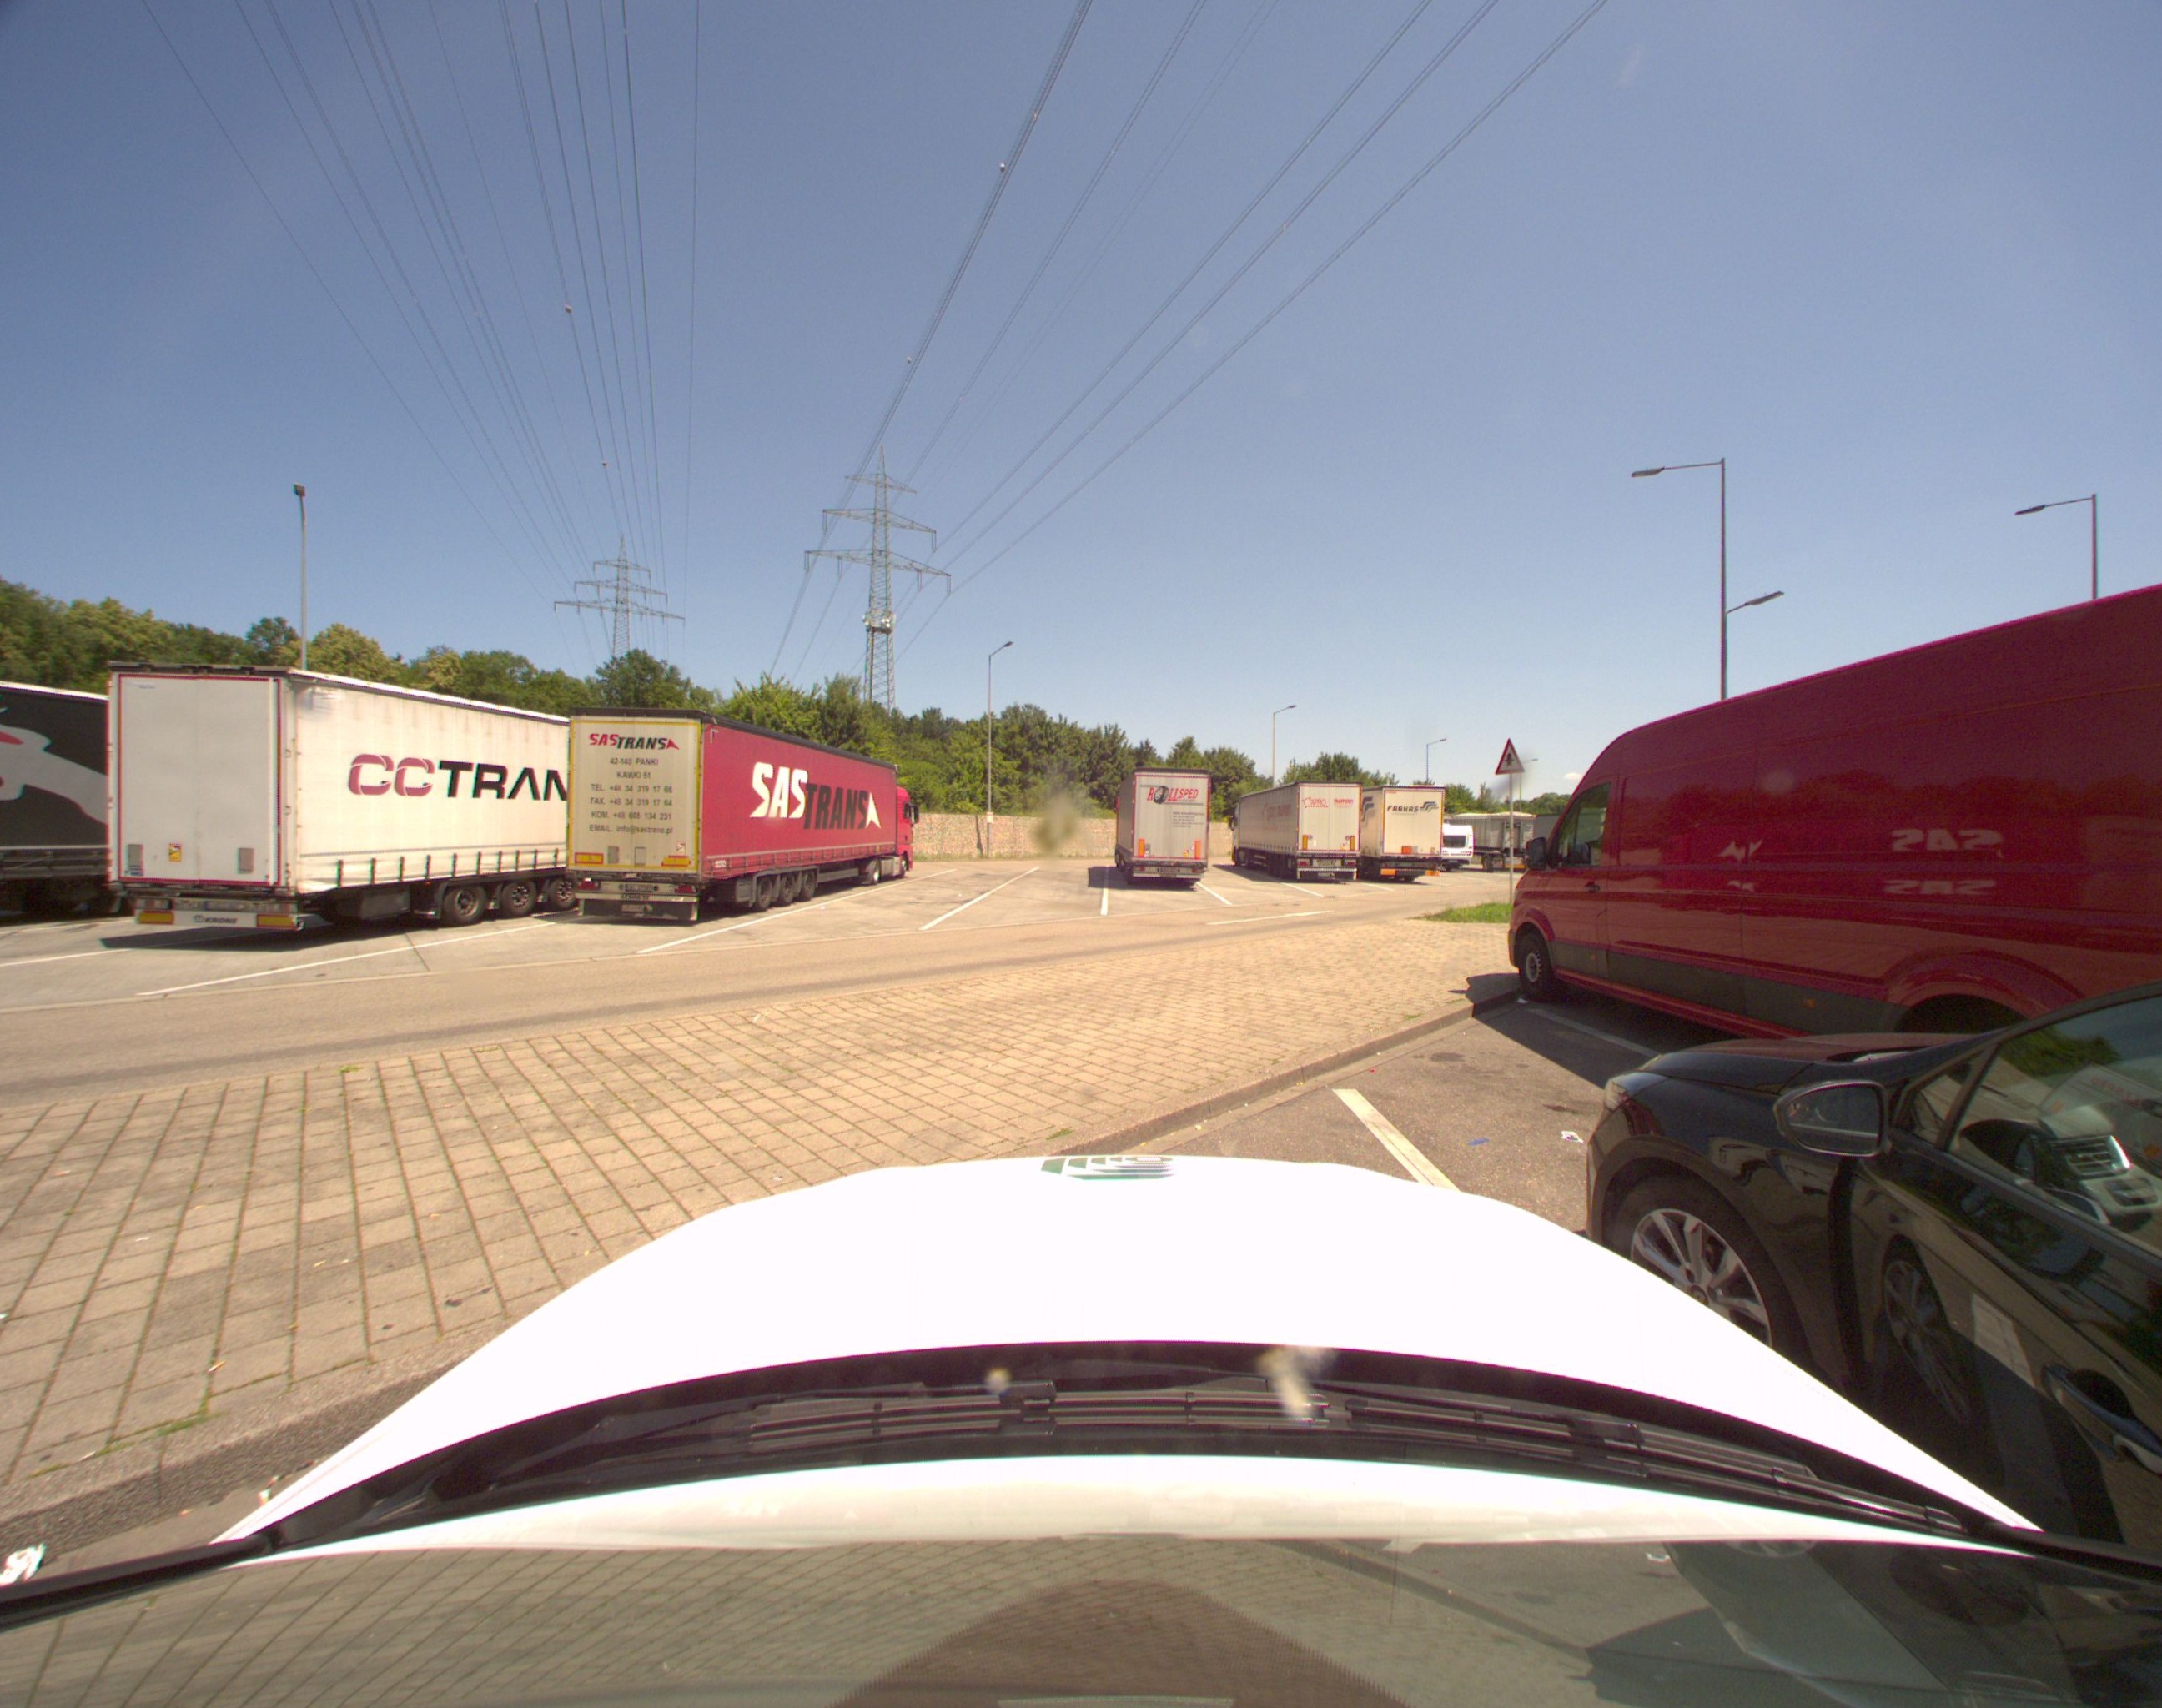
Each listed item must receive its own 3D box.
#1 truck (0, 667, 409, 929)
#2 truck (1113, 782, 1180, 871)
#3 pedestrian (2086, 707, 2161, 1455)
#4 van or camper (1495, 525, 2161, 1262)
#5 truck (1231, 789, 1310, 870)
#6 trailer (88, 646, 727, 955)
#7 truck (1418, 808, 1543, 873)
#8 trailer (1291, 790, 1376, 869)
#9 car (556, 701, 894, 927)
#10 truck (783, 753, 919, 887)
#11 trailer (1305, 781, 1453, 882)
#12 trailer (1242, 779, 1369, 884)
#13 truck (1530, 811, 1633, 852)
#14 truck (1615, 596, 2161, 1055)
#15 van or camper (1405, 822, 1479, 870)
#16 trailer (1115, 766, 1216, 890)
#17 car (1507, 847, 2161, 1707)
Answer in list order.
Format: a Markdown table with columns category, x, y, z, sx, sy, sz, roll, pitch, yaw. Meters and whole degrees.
| category | x | y | z | sx | sy | sz | roll | pitch | yaw |
| --- | --- | --- | --- | --- | --- | --- | --- | --- | --- |
| truck | -18.609 | -1.026 | 16.268 | 2.803 | 4.190 | 8.793 | 0 | 2 | 2 |
| truck | 3.147 | -1.402 | 40.815 | 2.857 | 4.037 | 7.029 | 0 | 2 | 1 |
| pedestrian | 3.102 | 0.570 | 1.753 | 0.770 | 1.872 | 0.916 | -1 | 1 | -4 |
| van or camper | 5.148 | 0.096 | 5.491 | 1.986 | 2.654 | 6.490 | -1 | 1 | 6 |
| truck | 10.189 | -1.377 | 44.532 | 2.856 | 4.037 | 6.960 | 0 | 2 | 2 |
| trailer | -12.154 | -0.979 | 17.787 | 2.803 | 4.266 | 12.947 | 0 | 2 | 2 |
| truck | 24.309 | -0.969 | 50.499 | 2.478 | 3.568 | 11.429 | 0 | 2 | 2 |
| trailer | 13.876 | -1.372 | 45.297 | 2.856 | 4.037 | 6.574 | 0 | 2 | 2 |
| car | -8.040 | -0.939 | 21.431 | 2.686 | 4.112 | 12.943 | 1 | 2 | 2 |
| truck | -7.740 | -1.159 | 28.347 | 2.686 | 4.112 | 6.243 | 1 | 2 | 2 |
| trailer | 13.650 | -1.133 | 38.875 | 2.856 | 4.037 | 12.445 | 0 | 2 | 2 |
| trailer | 9.963 | -1.112 | 37.900 | 2.856 | 4.037 | 12.445 | 0 | 2 | 2 |
| truck | 38.042 | -1.659 | 62.377 | 2.117 | 2.820 | 9.783 | -1 | 1 | 2 |
| truck | 7.948 | -0.216 | 7.063 | 2.455 | 2.792 | 6.978 | 0 | 1 | 4 |
| van or camper | 20.601 | -0.477 | 46.773 | 2.096 | 2.561 | 5.376 | -1 | 1 | 3 |
| trailer | 3.054 | -1.112 | 33.727 | 2.857 | 4.037 | 14.244 | 0 | 2 | 1 |
| car | 2.464 | 0.752 | 1.139 | 1.612 | 1.483 | 3.762 | -1 | 1 | -4 |
